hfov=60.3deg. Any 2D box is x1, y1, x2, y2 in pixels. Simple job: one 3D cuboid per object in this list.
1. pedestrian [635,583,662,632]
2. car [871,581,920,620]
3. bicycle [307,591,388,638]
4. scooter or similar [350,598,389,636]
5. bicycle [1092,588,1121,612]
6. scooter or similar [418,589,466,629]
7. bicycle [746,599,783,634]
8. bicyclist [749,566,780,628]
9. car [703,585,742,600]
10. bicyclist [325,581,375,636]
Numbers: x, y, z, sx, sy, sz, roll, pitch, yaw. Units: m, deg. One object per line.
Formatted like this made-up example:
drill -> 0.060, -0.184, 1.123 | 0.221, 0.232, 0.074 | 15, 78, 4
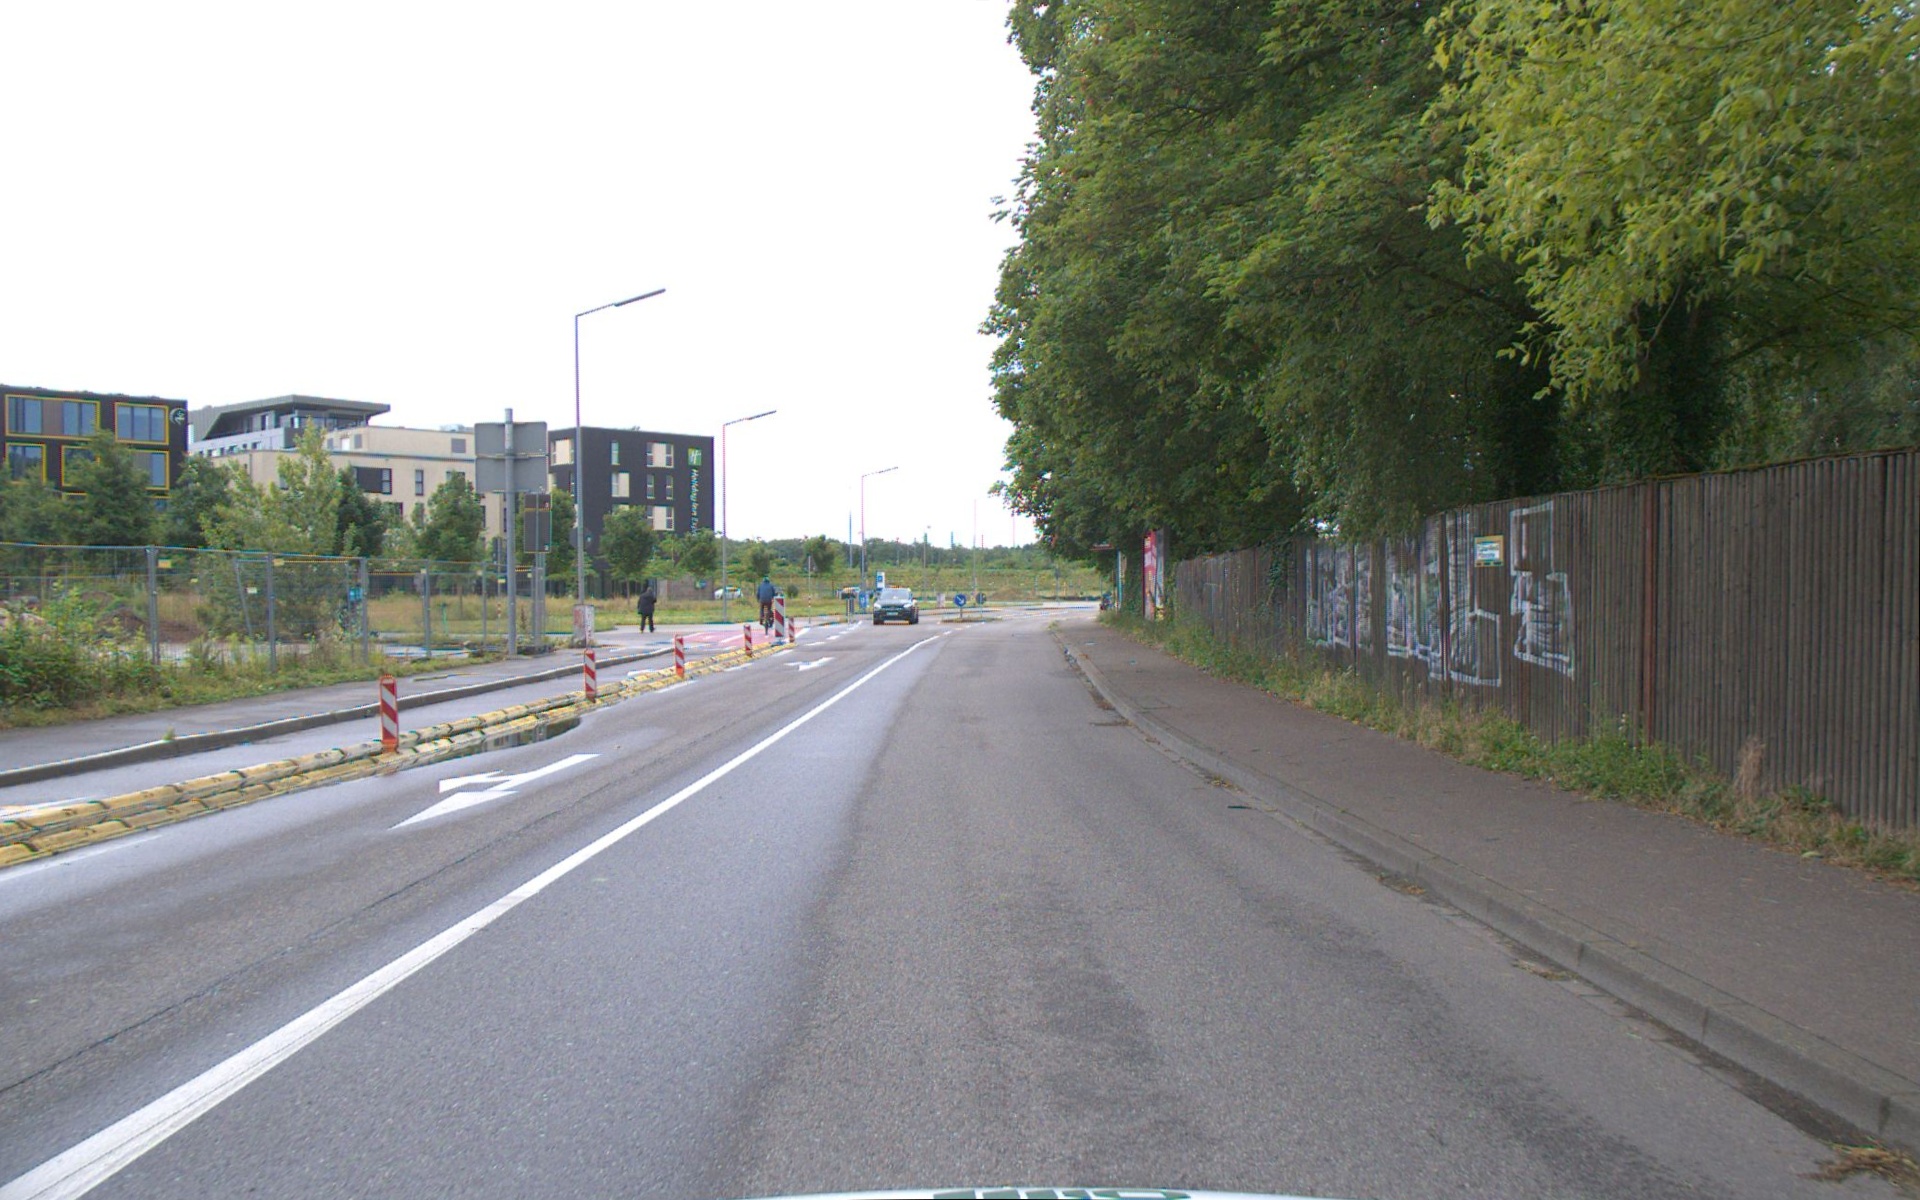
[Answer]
pedestrian -> -11.796, 0.285, 62.710 | 0.826, 1.813, 1.077 | -1, 1, -2
car -> -2.839, 0.007, 73.630 | 1.842, 1.594, 4.359 | -1, 1, 1
bicycle -> -21.905, 0.521, 59.173 | 2.441, 1.611, 1.086 | -1, 1, -2
scooter or similar -> -18.161, 0.523, 50.898 | 1.310, 1.162, 0.410 | 0, -1, 33
bicycle -> 7.070, -0.019, 79.718 | 0.780, 1.130, 1.951 | 0, 0, 25
scooter or similar -> -15.611, 0.266, 49.820 | 0.651, 1.162, 1.874 | 0, 0, -42
bicycle -> -6.565, 0.551, 55.739 | 0.865, 1.070, 2.470 | -1, 1, 2
bicyclist -> -6.586, -0.122, 55.693 | 0.843, 2.048, 1.178 | -1, 1, 2
car -> -25.997, -0.852, 181.116 | 1.960, 1.544, 4.139 | 0, 1, 35
bicyclist -> -21.817, 0.291, 59.188 | 1.369, 1.932, 1.077 | -1, 1, -2
